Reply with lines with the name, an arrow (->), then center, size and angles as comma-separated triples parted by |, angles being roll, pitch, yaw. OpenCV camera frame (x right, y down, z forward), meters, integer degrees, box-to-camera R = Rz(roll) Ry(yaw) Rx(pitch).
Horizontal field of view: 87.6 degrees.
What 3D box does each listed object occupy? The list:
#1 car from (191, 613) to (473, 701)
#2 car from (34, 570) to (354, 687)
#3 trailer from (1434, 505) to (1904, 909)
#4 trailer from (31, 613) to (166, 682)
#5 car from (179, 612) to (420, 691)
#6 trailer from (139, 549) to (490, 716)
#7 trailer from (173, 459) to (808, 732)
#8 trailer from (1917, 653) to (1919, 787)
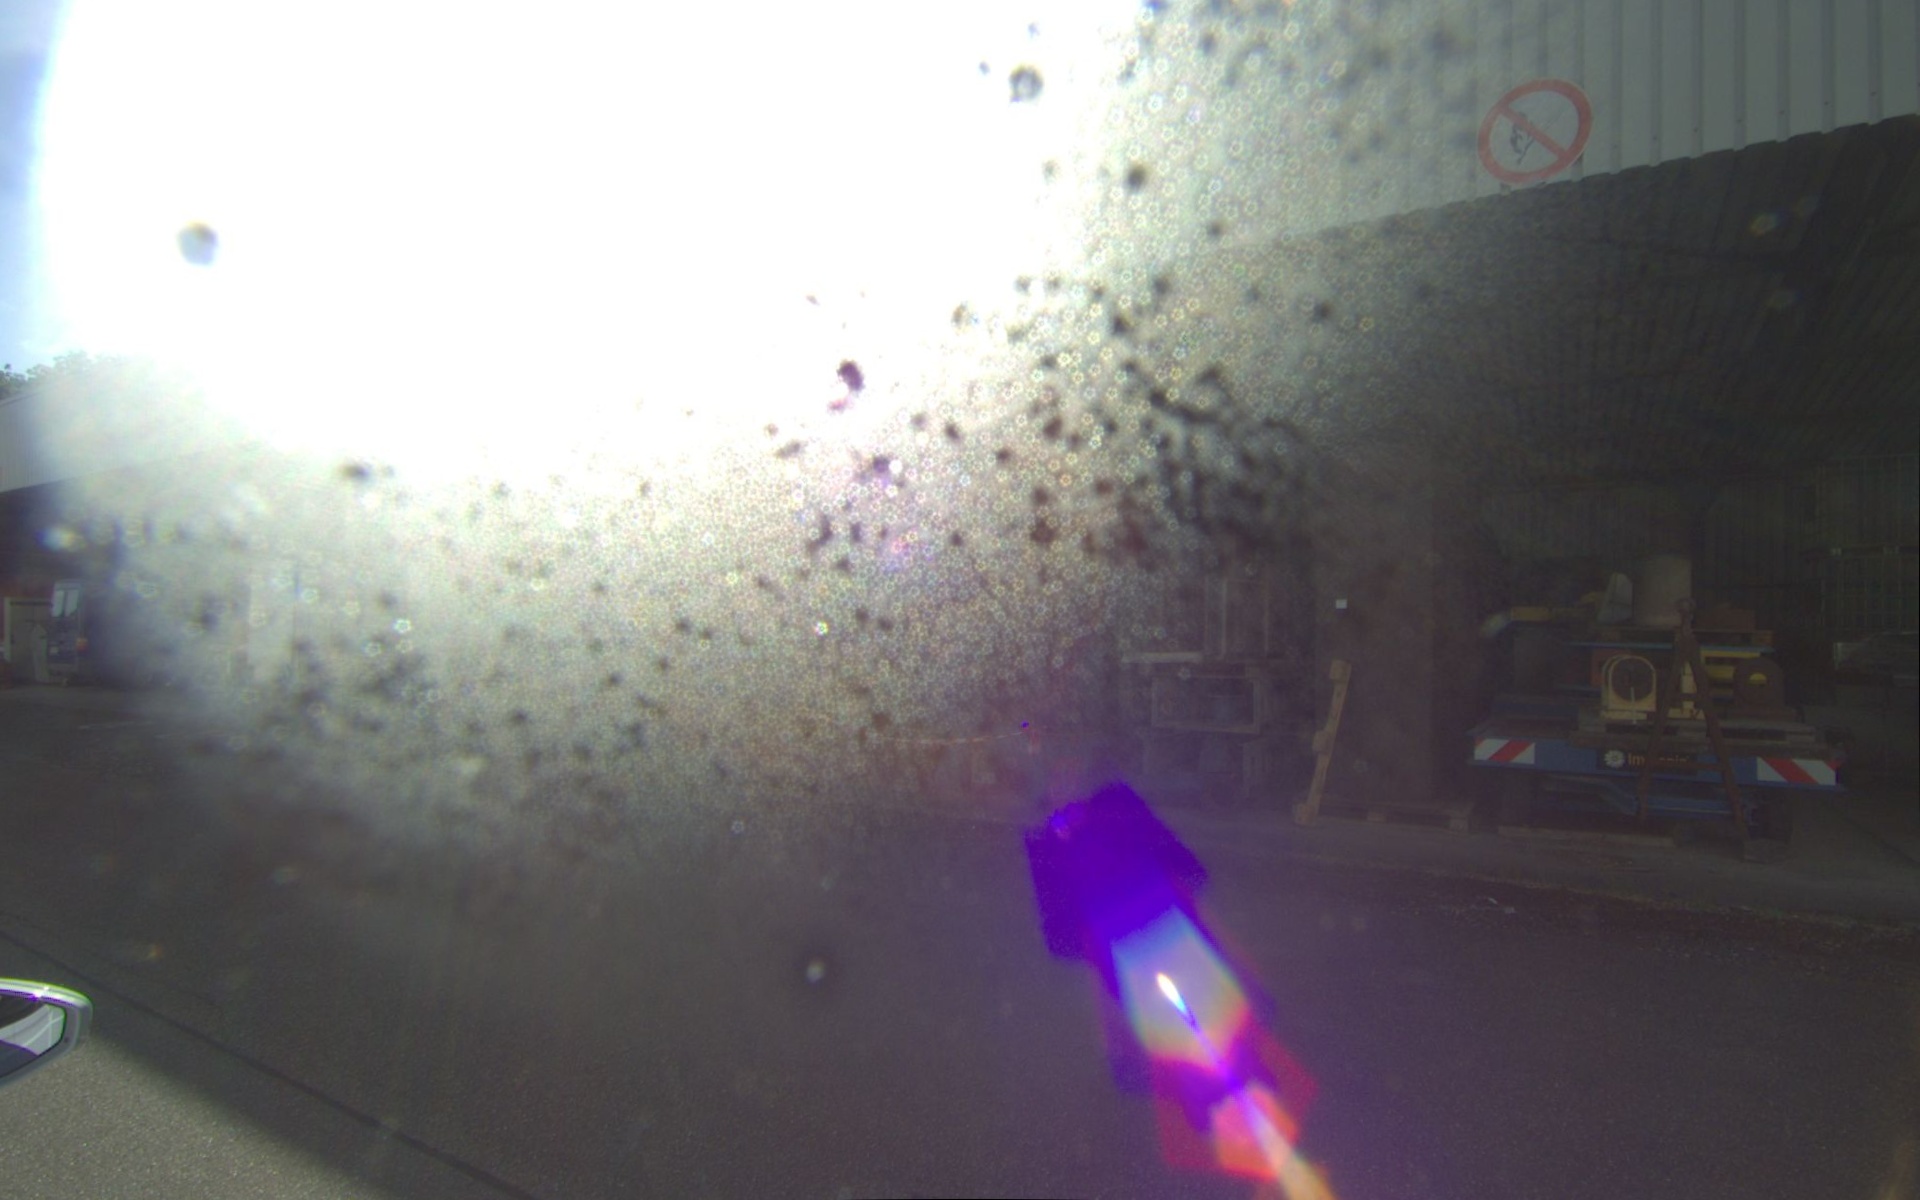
car -> -11.877, 1.041, 19.266 | 1.841, 1.490, 4.246 | 0, -2, 29
car -> -17.030, 0.676, 22.622 | 2.121, 2.310, 5.326 | -1, -2, 31
trailer -> 5.017, 0.590, 7.441 | 2.133, 2.016, 4.413 | -1, -1, 33
trailer -> -19.800, 1.061, 23.034 | 1.715, 1.485, 2.032 | 0, -1, 36
car -> -14.048, 1.076, 21.540 | 1.812, 1.533, 3.962 | -1, -2, 29
trailer -> -10.512, 0.515, 16.670 | 2.018, 2.372, 4.507 | -1, -1, 33
trailer -> -7.081, 0.048, 17.551 | 2.761, 3.386, 10.250 | 0, -1, 32
trailer -> 8.012, 1.005, 6.034 | 1.945, 1.200, 5.721 | -1, -1, 30
